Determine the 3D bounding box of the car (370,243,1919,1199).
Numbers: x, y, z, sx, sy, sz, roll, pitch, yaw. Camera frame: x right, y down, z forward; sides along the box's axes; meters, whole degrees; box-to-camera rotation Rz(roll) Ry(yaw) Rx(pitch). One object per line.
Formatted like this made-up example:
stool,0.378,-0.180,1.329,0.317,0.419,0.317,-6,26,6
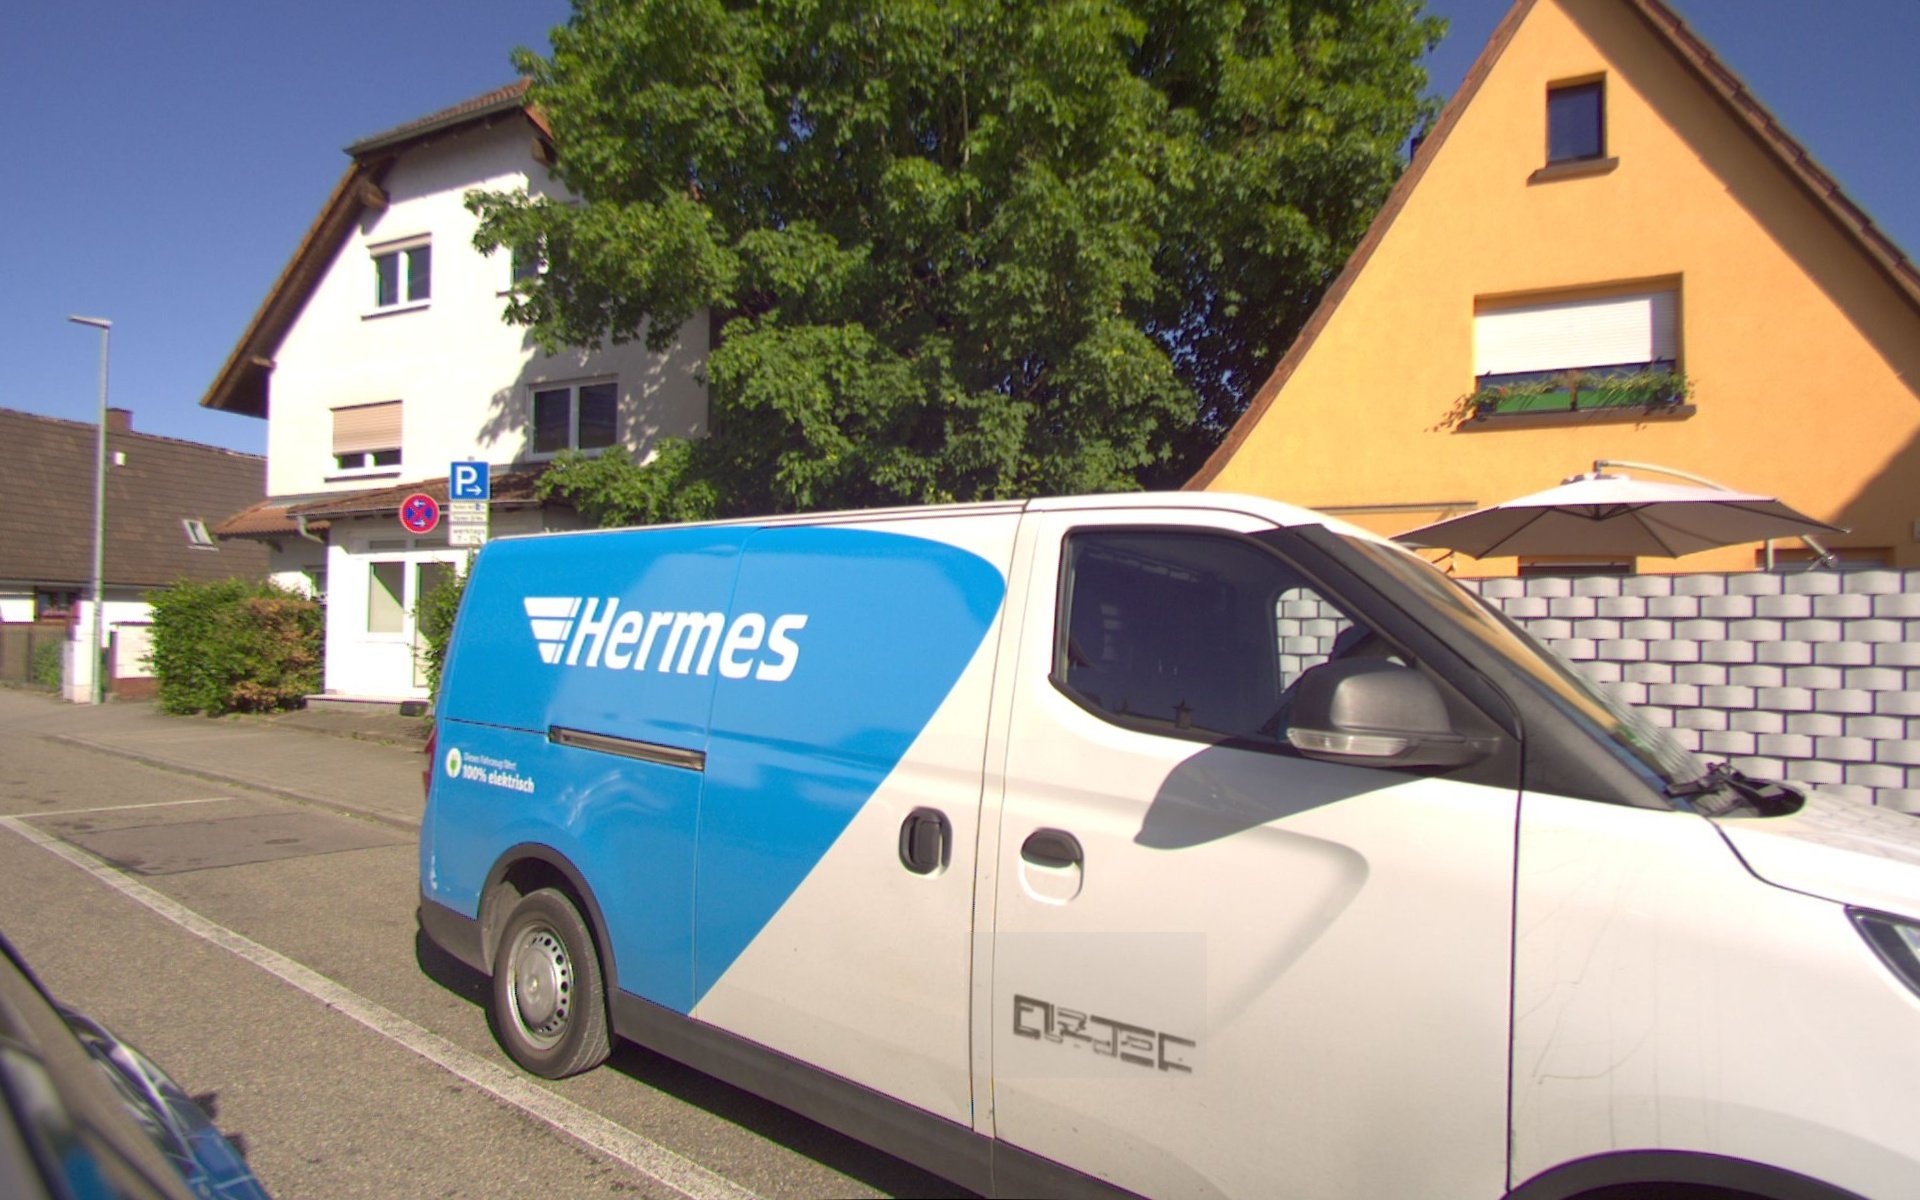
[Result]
car,0.377,0.578,3.073,5.061,1.932,1.885,-1,-4,37
